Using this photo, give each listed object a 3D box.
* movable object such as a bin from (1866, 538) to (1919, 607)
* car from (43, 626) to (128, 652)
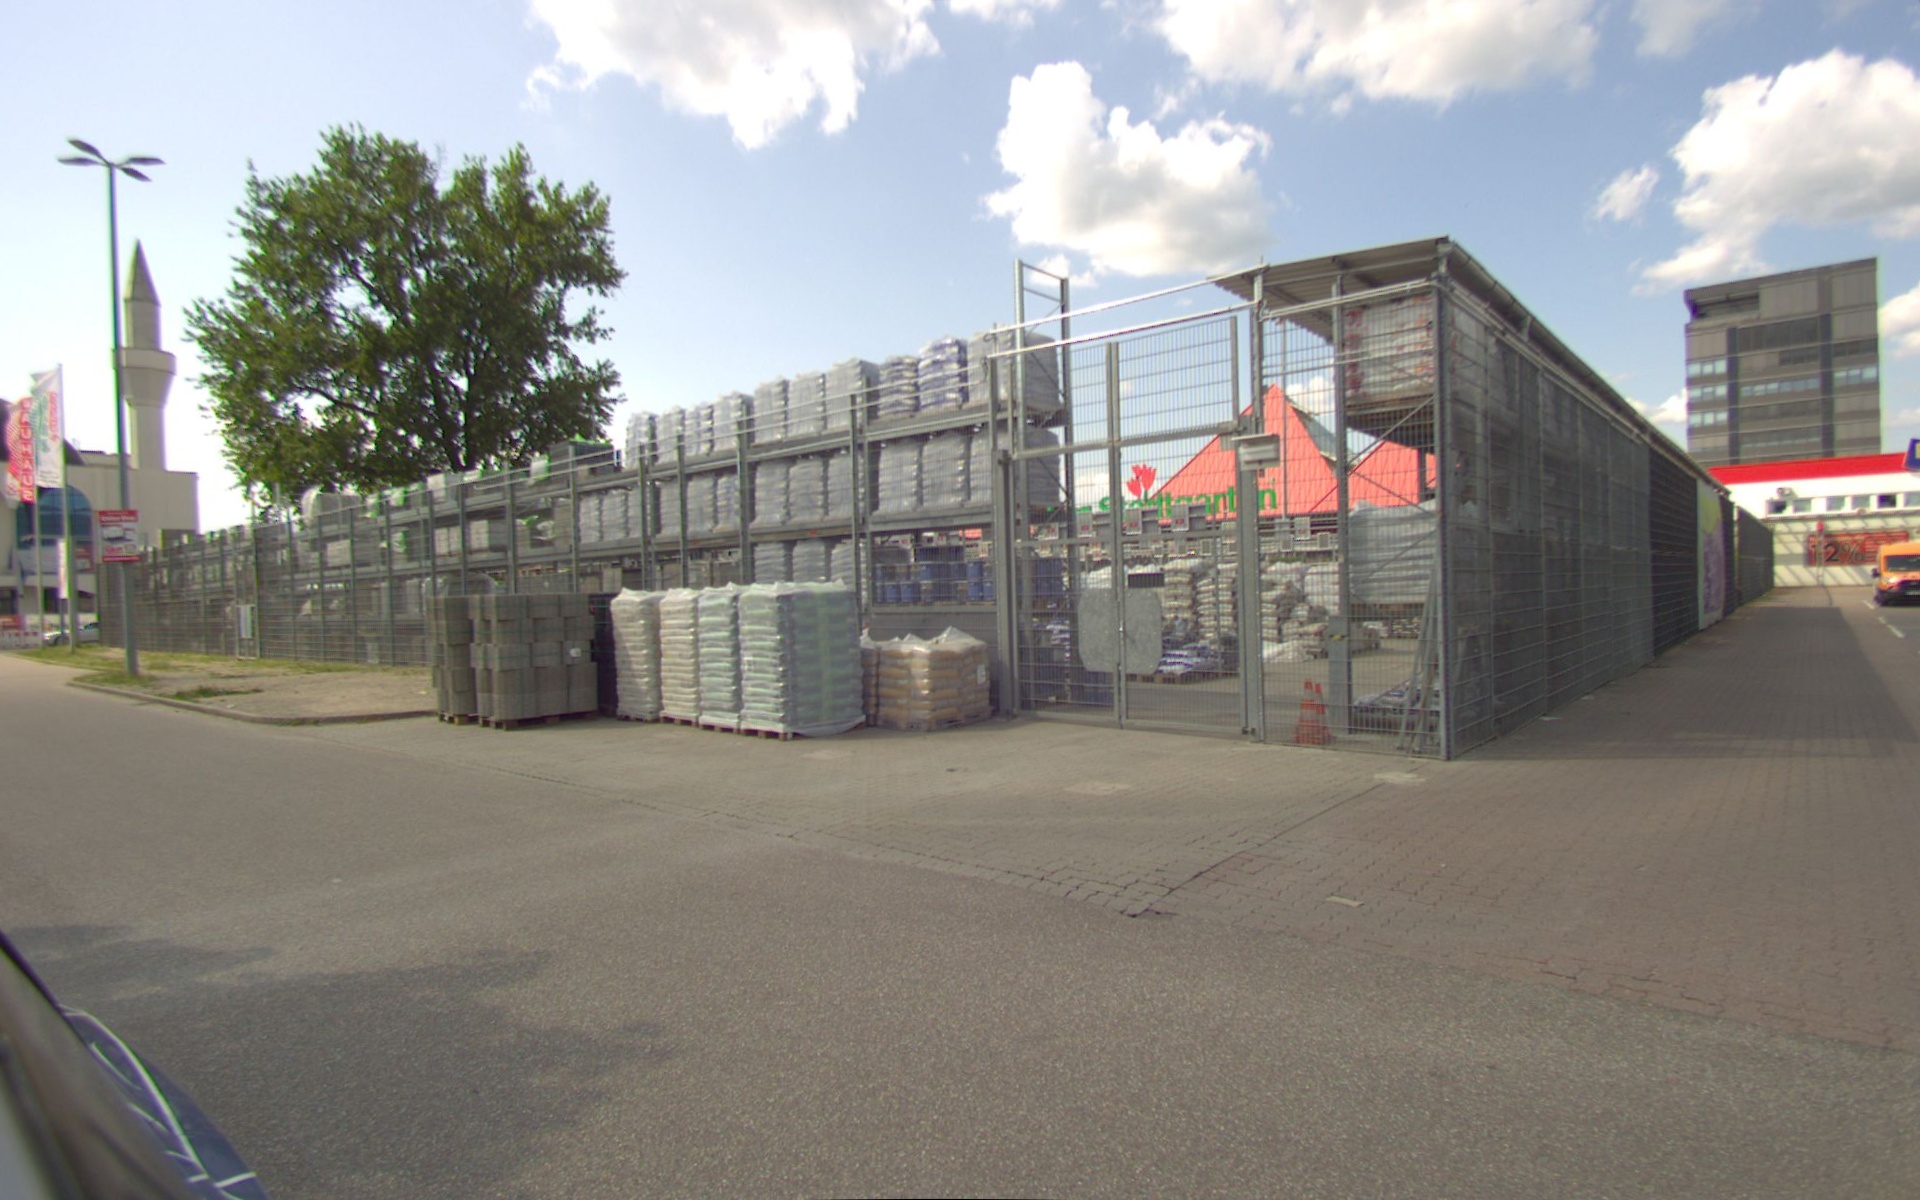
[{"bbox_3d":[36.838,-1.049,39.055,2.126,2.512,5.273,-2,0,35],"label":"movable object such as a bin"},{"bbox_3d":[-51.786,2.299,59.984,1.651,1.377,3.658,-2,-1,43],"label":"car"}]
